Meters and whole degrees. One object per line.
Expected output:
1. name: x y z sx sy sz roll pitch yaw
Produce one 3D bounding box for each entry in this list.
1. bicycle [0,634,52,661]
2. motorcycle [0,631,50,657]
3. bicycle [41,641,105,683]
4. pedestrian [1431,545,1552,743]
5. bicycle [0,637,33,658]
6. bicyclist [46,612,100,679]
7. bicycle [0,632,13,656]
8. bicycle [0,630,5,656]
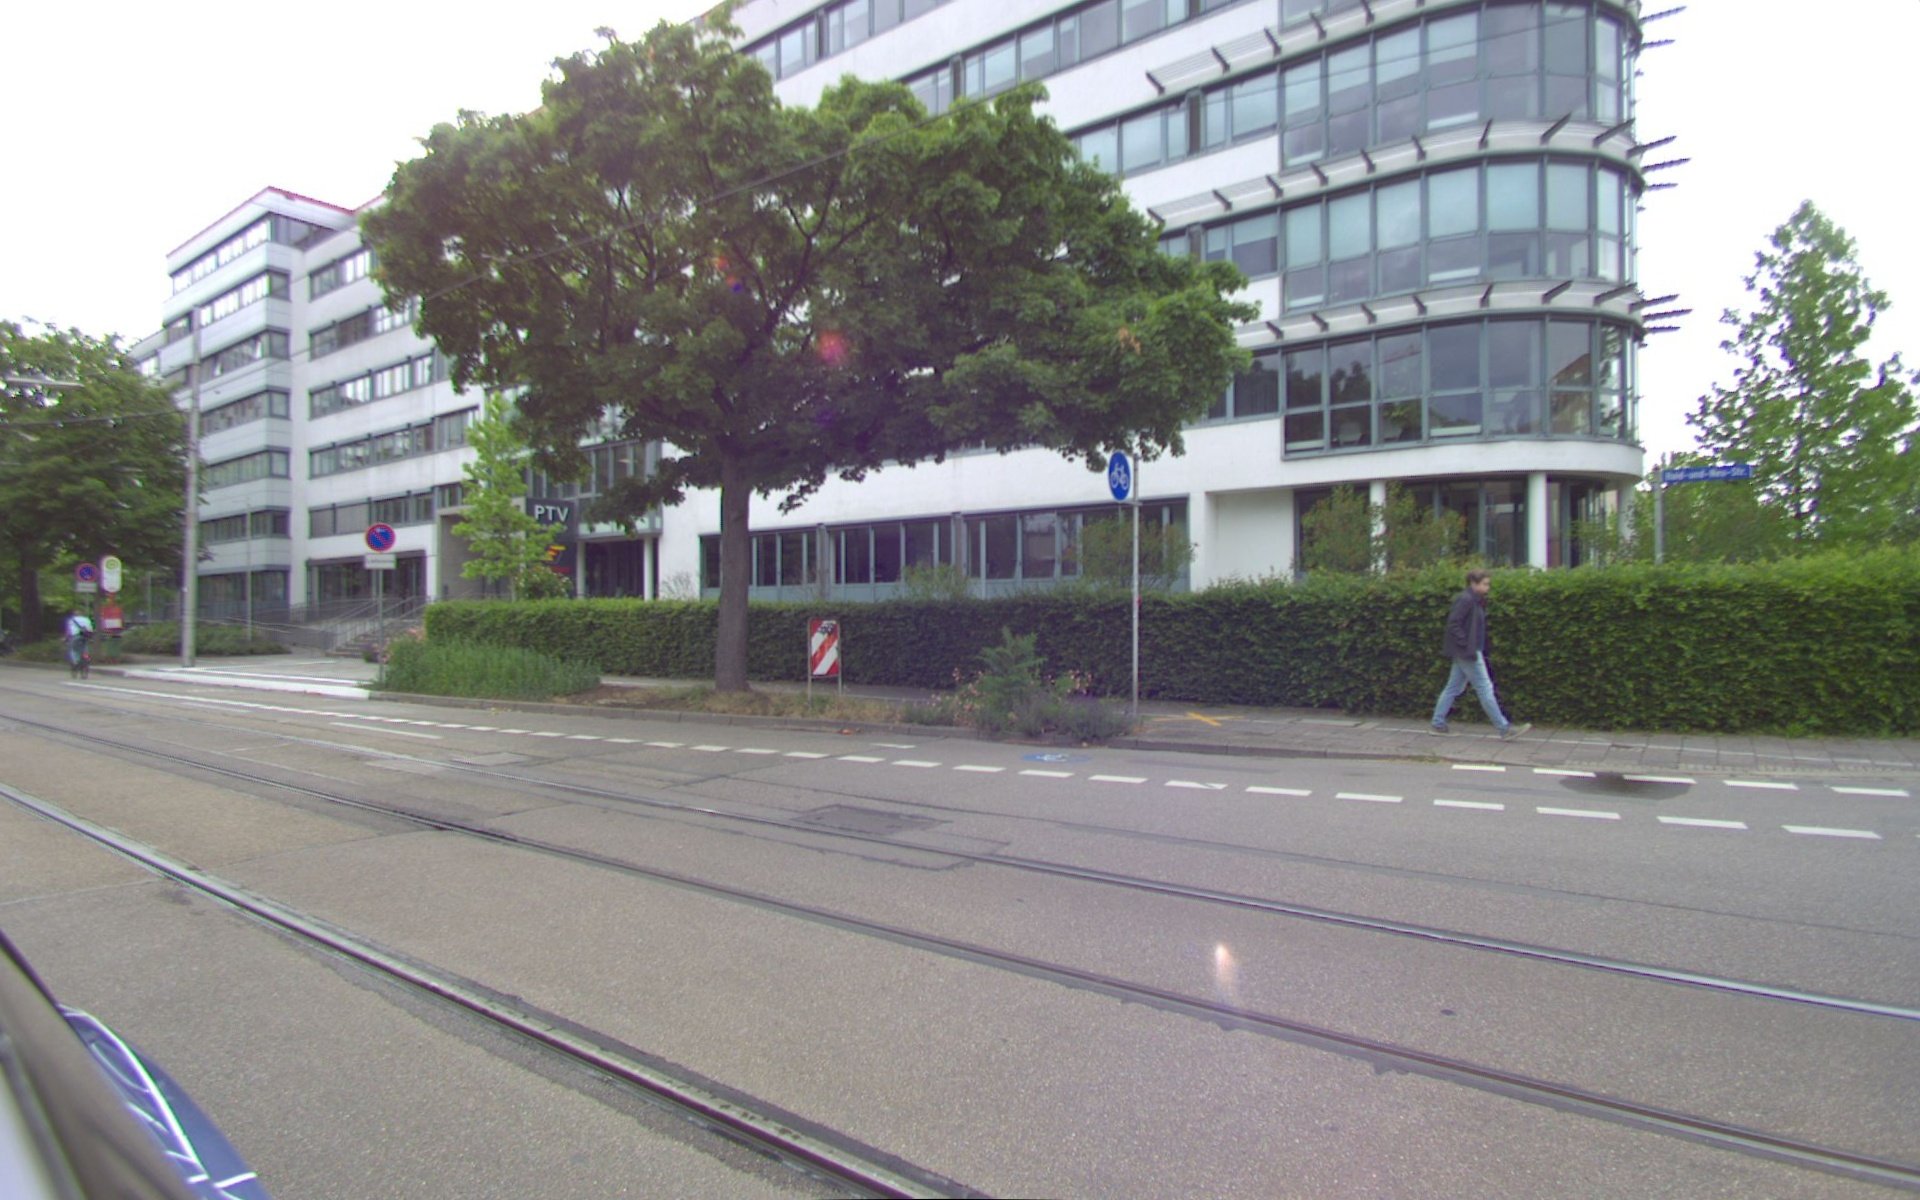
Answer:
1. bicycle: -38.947 1.963 41.936 0.738 1.061 1.817 -1 -1 28
2. motorcycle: -40.491 1.879 43.595 0.730 1.058 1.776 -1 0 29
3. bicycle: -23.736 1.637 27.083 1.947 1.082 0.583 -1 -2 27
4. pedestrian: 5.746 0.450 10.958 0.991 2.029 0.702 -1 0 44
5. bicycle: -41.933 2.083 44.359 0.630 0.906 1.793 0 -2 30
6. bicyclist: -23.754 1.204 27.107 0.974 1.762 0.731 -1 -2 27
7. bicycle: -43.987 1.984 45.600 0.630 1.108 1.793 0 -2 30
8. bicycle: -44.958 1.981 46.237 0.632 1.195 1.845 -1 -2 41
